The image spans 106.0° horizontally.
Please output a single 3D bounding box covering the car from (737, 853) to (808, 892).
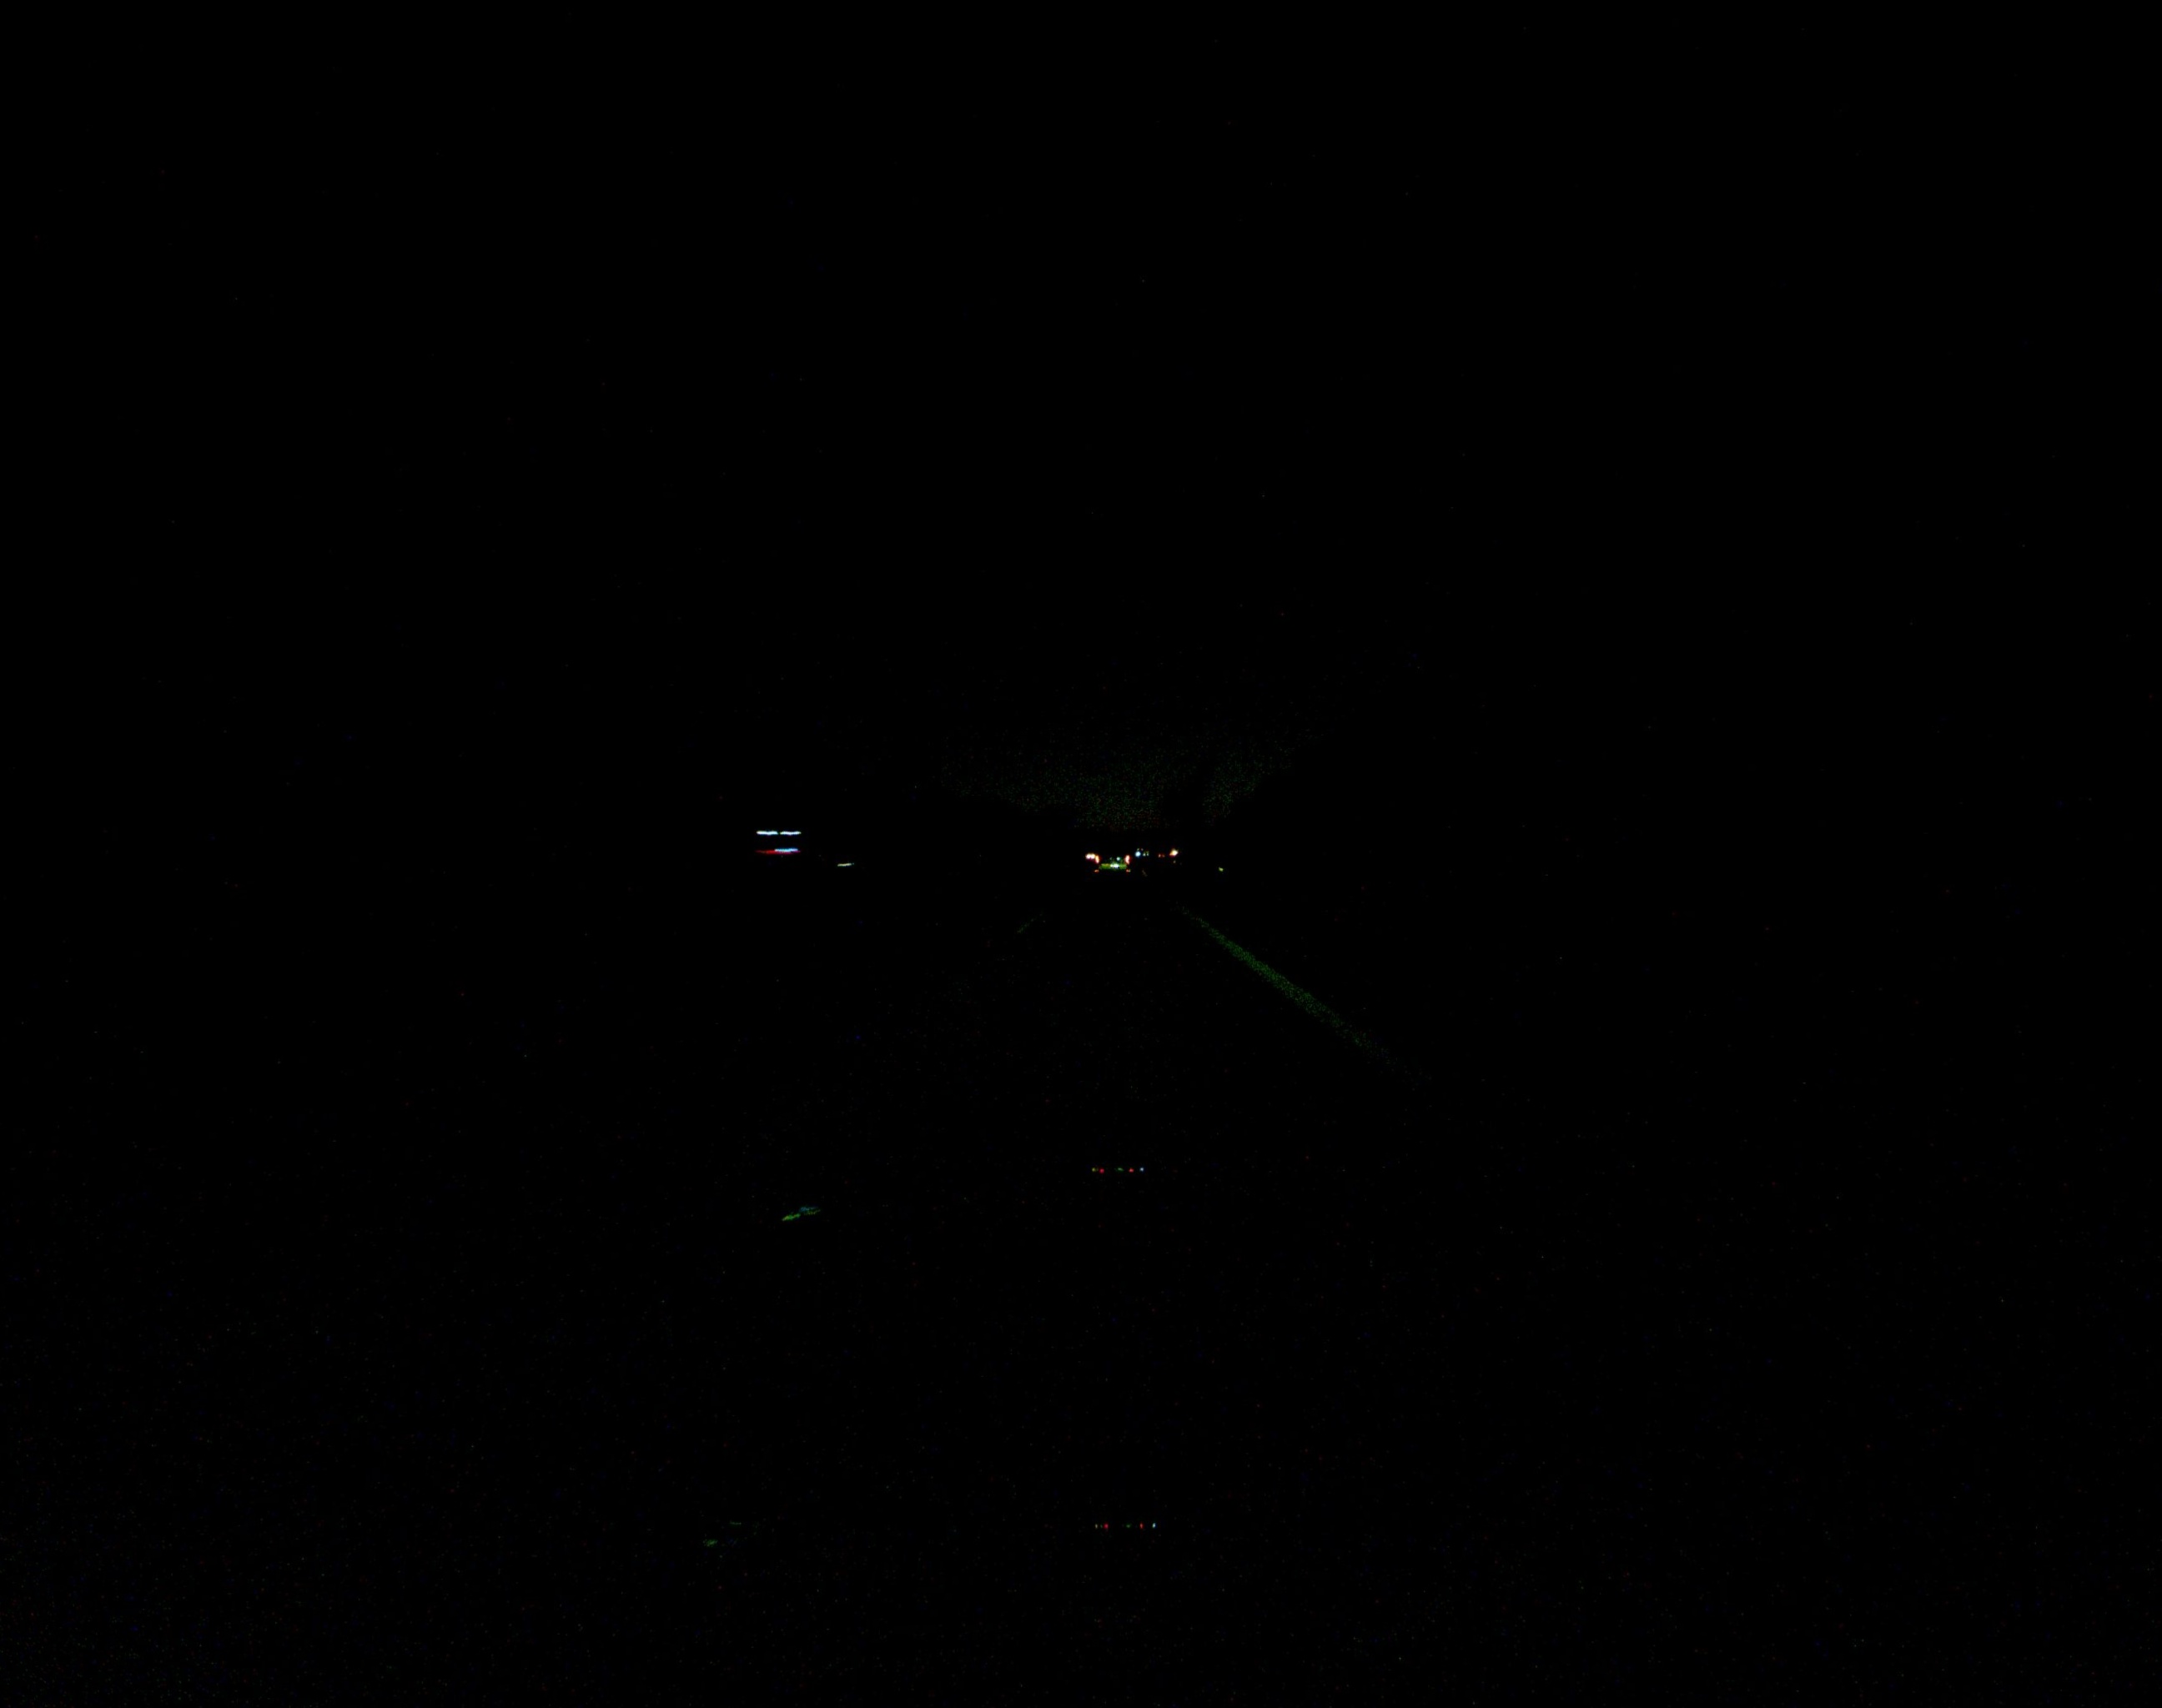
[{"bbox_3d":[-14.005,0.818,37.163,1.739,1.646,3.743,-1,-1,1],"label":"car"}]

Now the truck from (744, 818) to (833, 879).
[{"bbox_3d":[-20.380,-0.330,57.252,3.487,3.970,6.705,-1,-1,3],"label":"truck"}]

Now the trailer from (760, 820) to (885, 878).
[{"bbox_3d":[-19.951,-0.270,64.840,3.528,4.000,17.296,-1,-1,3],"label":"trailer"}]

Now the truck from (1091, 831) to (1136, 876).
[{"bbox_3d":[2.103,0.020,52.198,2.619,2.624,8.690,-1,-1,3],"label":"truck"}]
